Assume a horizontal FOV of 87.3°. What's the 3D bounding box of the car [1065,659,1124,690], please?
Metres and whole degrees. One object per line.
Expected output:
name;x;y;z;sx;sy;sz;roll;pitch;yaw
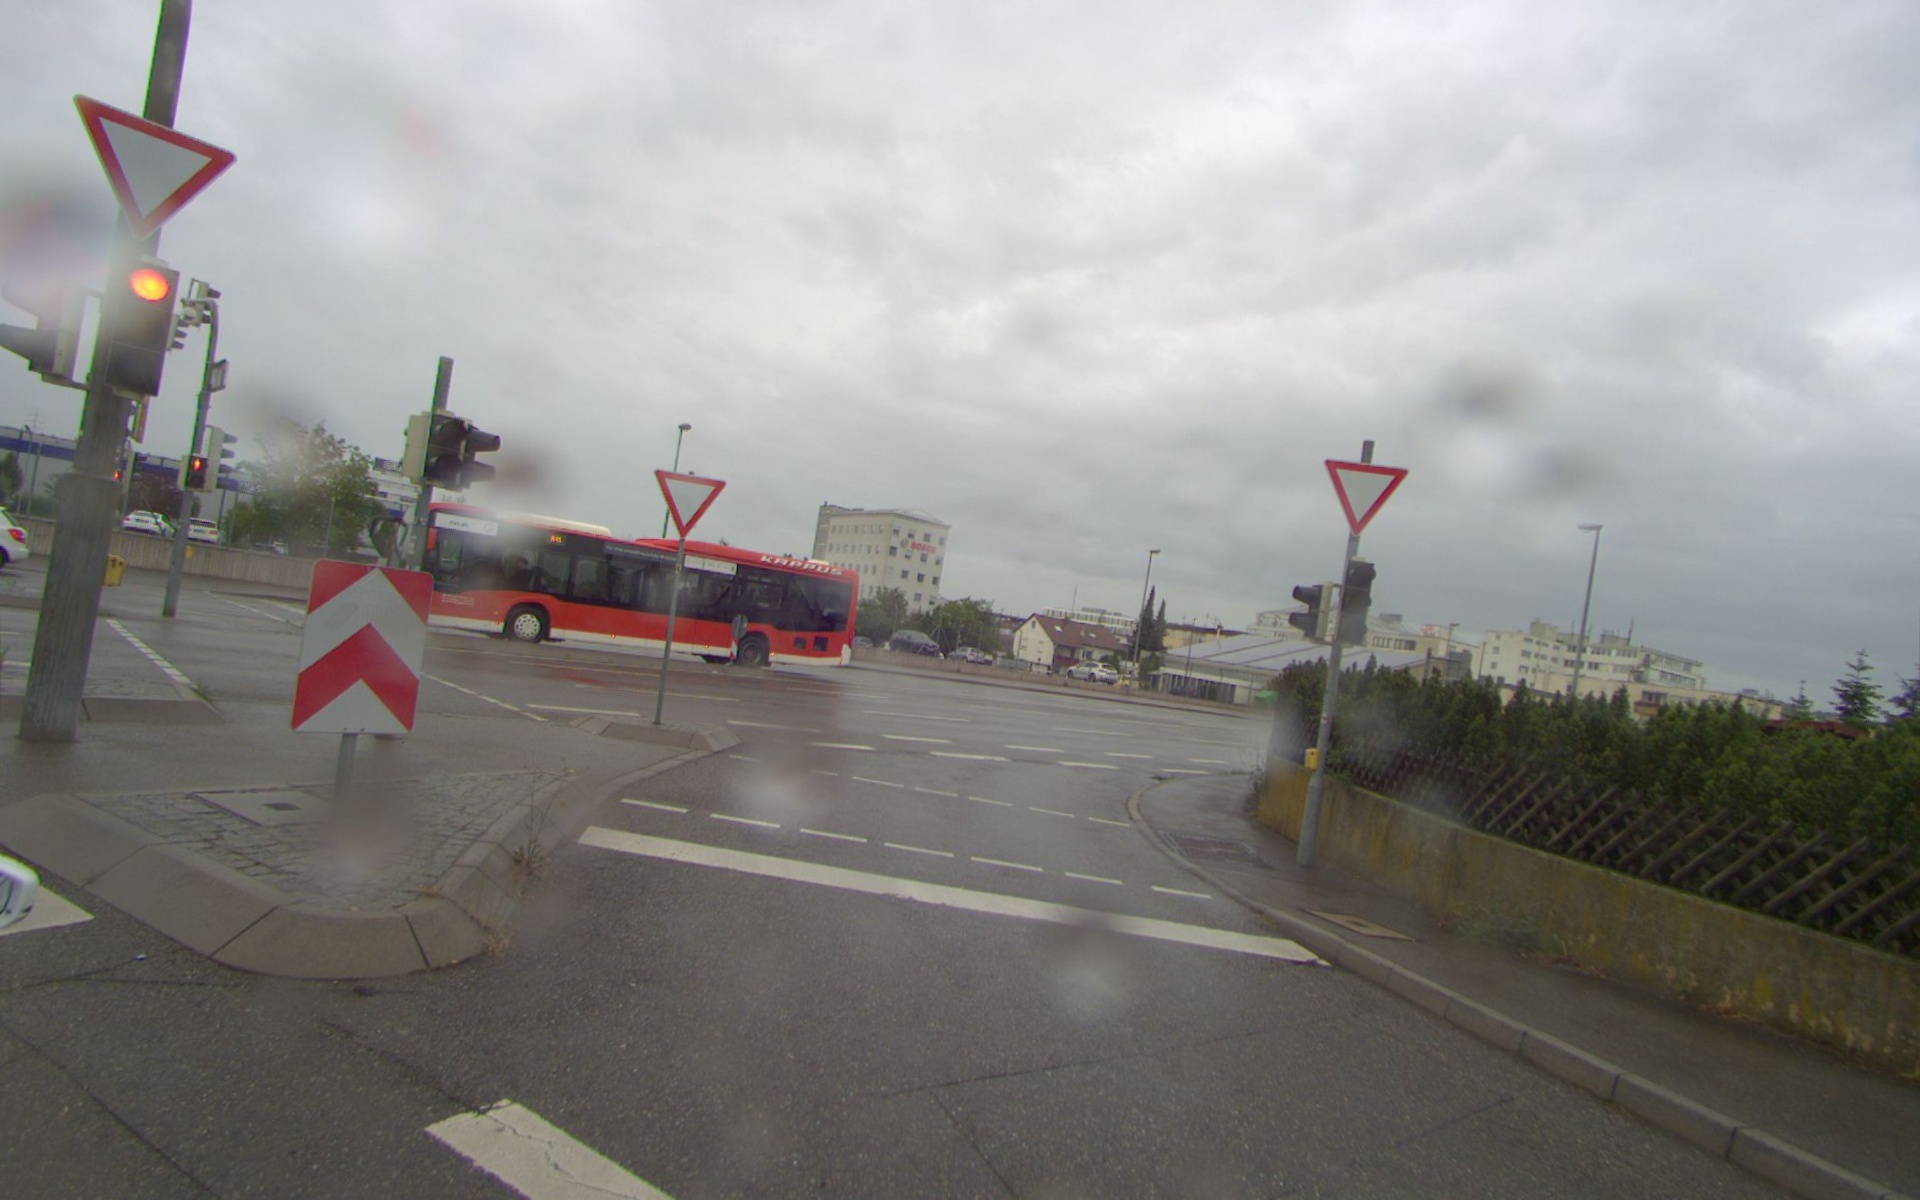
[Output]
car;9.353;5.190;70.349;1.979;1.494;3.971;9;-2;-29

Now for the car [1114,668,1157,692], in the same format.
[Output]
car;17.469;7.936;100.118;3.760;1.771;1.887;9;-2;-29

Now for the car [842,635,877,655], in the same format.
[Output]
car;-10.134;4.494;100.936;1.979;1.494;3.971;9;-2;-29

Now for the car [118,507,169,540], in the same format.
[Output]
car;-46.004;-4.306;56.747;1.985;1.494;3.959;10;-2;-38

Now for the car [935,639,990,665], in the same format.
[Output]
car;0.182;4.289;82.536;3.951;1.494;1.989;10;-2;-24

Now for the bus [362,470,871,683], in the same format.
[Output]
bus;-8.345;-0.270;26.609;12.246;3.357;3.039;12;-3;-41

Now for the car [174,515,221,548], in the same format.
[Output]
car;-44.282;-3.976;58.412;1.986;1.494;3.958;10;-2;-38

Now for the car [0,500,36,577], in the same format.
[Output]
car;-22.946;-1.658;21.918;3.980;1.614;1.933;11;-3;-44

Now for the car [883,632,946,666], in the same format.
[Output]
car;-2.866;3.004;62.272;1.983;1.494;3.964;10;-2;-34

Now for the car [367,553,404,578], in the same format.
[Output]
car;-41.629;-2.461;72.938;1.750;1.495;3.629;9;-2;-23
